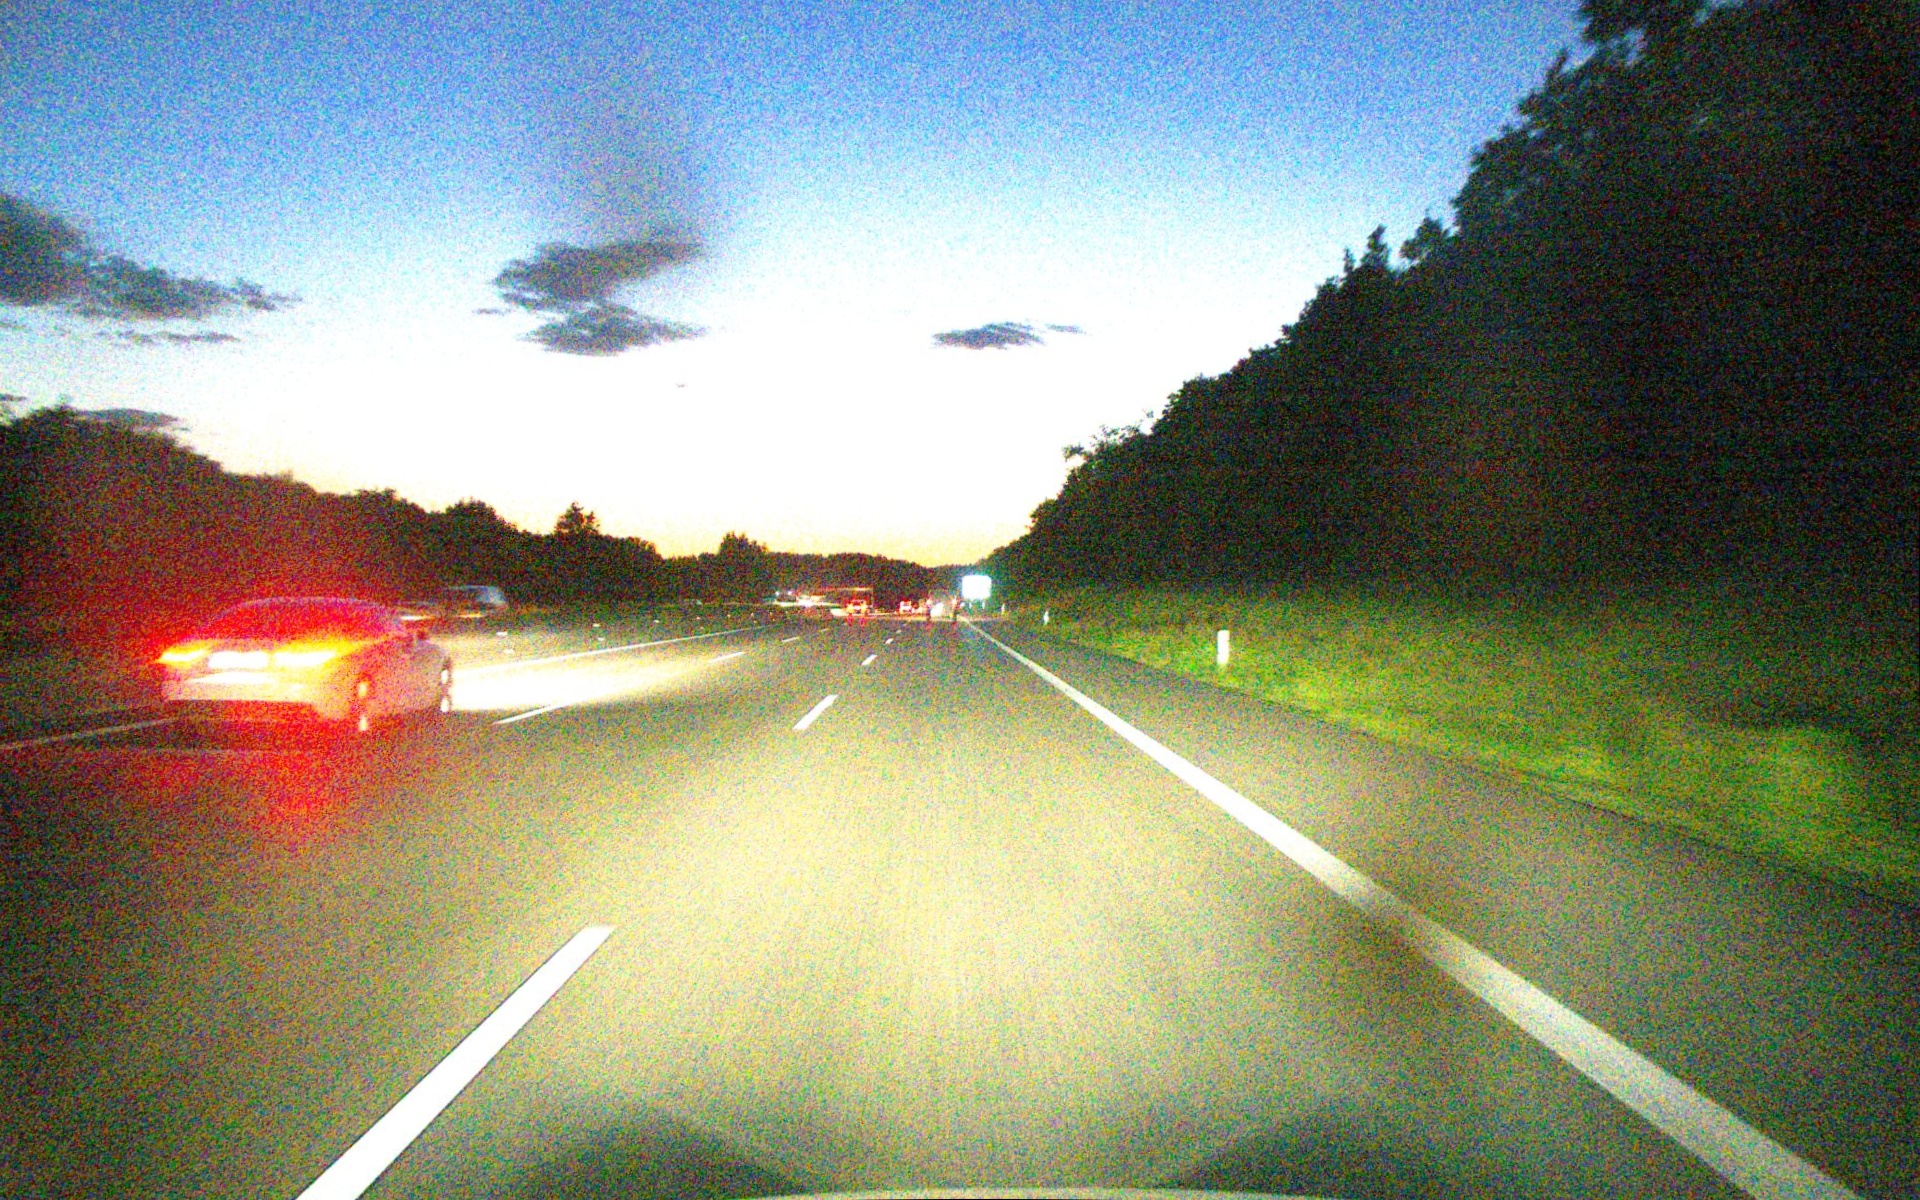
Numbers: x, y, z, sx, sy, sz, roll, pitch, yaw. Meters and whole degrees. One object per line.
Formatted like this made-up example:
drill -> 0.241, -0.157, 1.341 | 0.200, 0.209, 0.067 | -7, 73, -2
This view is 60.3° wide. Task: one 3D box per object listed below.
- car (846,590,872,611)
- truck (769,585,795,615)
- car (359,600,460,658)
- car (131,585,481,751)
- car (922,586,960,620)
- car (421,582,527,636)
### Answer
car -> -9.473, 0.046, 155.420 | 2.152, 1.989, 4.632 | 0, 0, -1
truck -> -27.390, -0.030, 254.506 | 3.258, 4.511, 6.706 | -2, 0, -1
car -> -20.163, 1.032, 60.812 | 2.152, 1.989, 4.762 | 1, 0, -1
car -> -6.762, 0.617, 17.812 | 1.743, 1.513, 5.252 | 0, 0, -1
car -> -1.263, 0.174, 105.926 | 2.153, 1.989, 4.760 | -3, 0, -3
car -> -16.131, 0.282, 55.180 | 2.152, 1.711, 4.762 | 1, 0, -1
